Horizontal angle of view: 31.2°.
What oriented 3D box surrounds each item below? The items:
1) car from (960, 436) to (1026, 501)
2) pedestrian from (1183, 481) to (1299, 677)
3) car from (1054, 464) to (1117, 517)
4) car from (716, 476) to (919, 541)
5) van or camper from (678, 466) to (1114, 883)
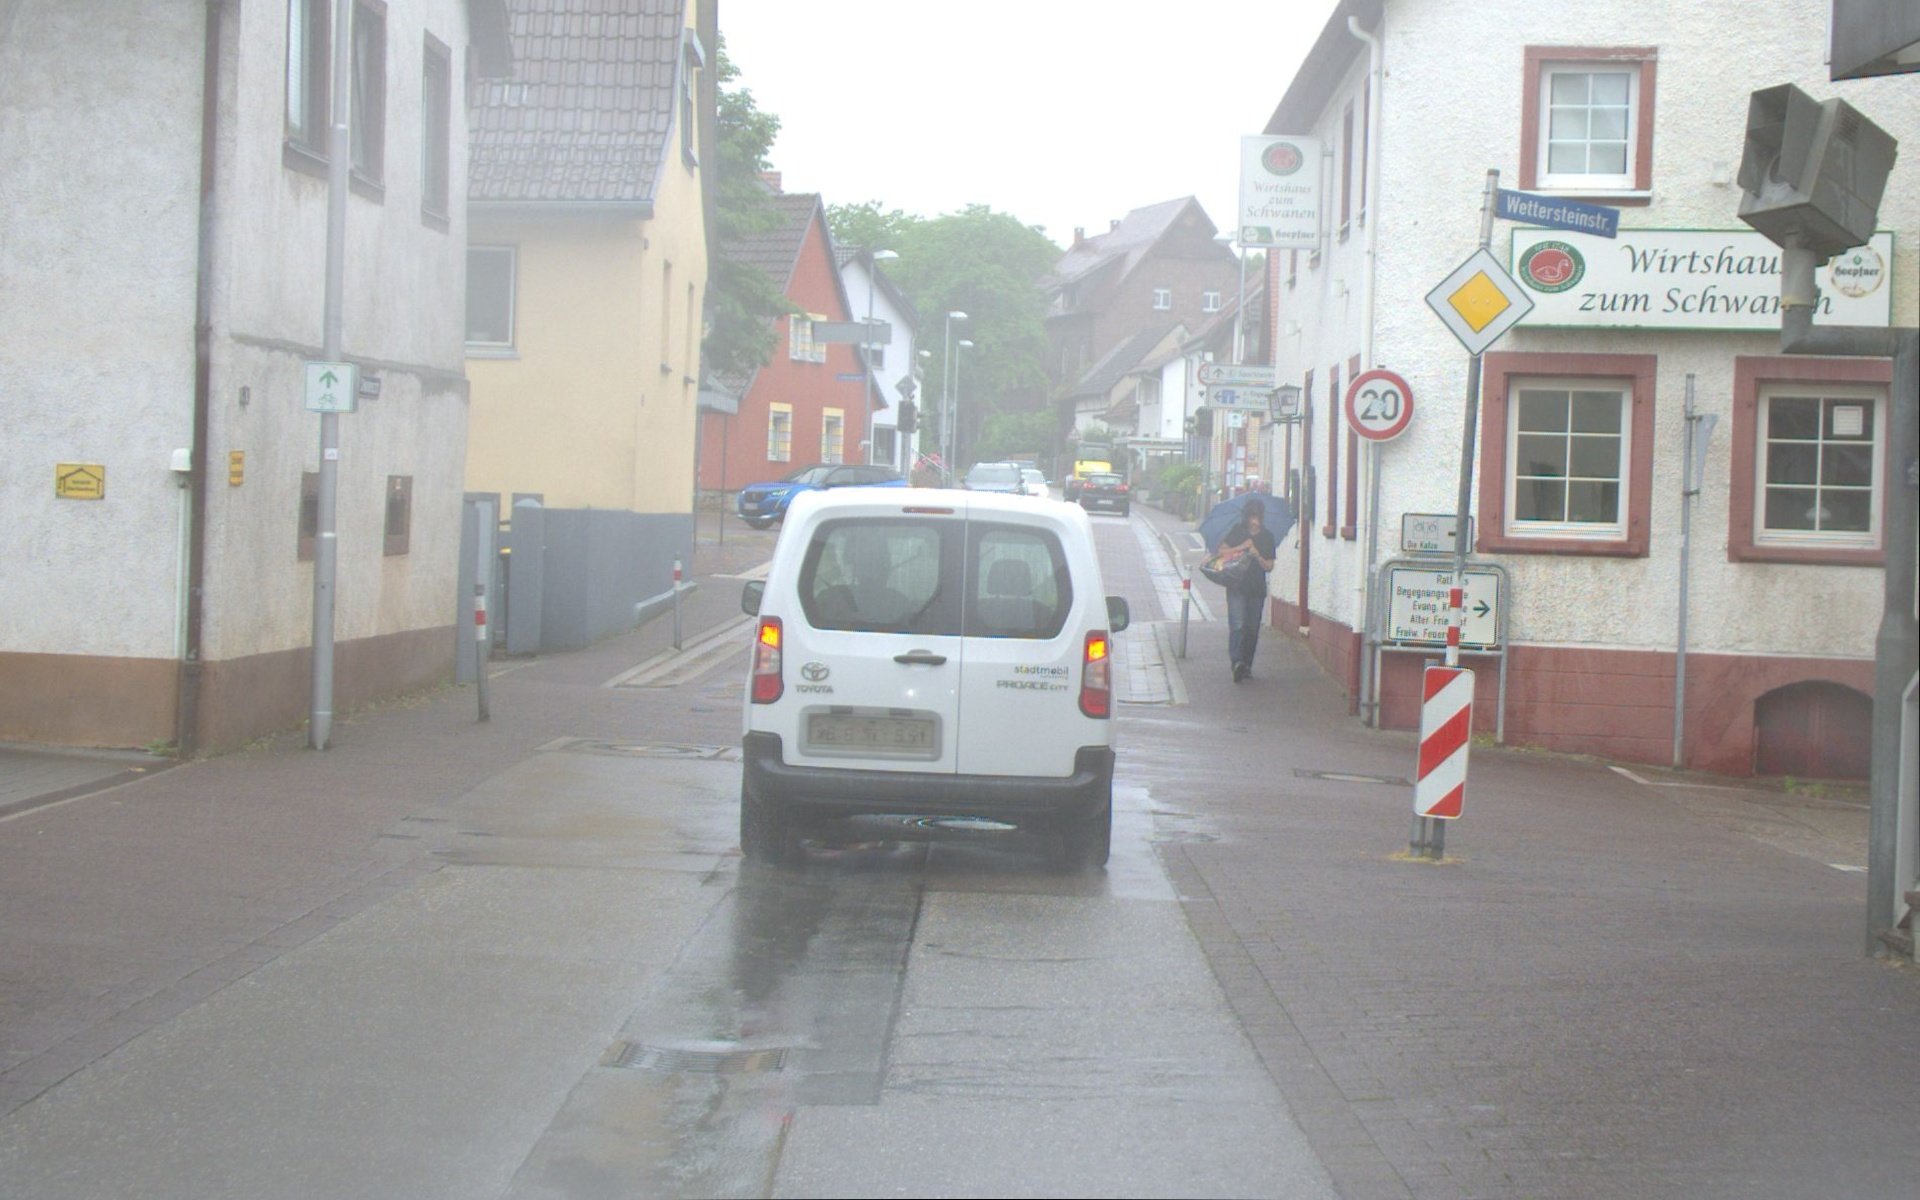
[{"bbox_3d":[0.970,-3.818,99.106,1.812,1.773,4.018,1,3,1],"label":"car"},{"bbox_3d":[2.603,-0.205,31.783,0.994,1.730,0.811,2,4,6],"label":"pedestrian"},{"bbox_3d":[4.313,-3.785,118.563,1.993,1.741,4.000,1,2,0],"label":"car"},{"bbox_3d":[-3.172,-2.038,76.576,3.987,1.368,2.111,0,1,-35],"label":"car"},{"bbox_3d":[-0.229,0.312,17.839,1.943,1.845,4.000,2,1,2],"label":"van or camper"}]
